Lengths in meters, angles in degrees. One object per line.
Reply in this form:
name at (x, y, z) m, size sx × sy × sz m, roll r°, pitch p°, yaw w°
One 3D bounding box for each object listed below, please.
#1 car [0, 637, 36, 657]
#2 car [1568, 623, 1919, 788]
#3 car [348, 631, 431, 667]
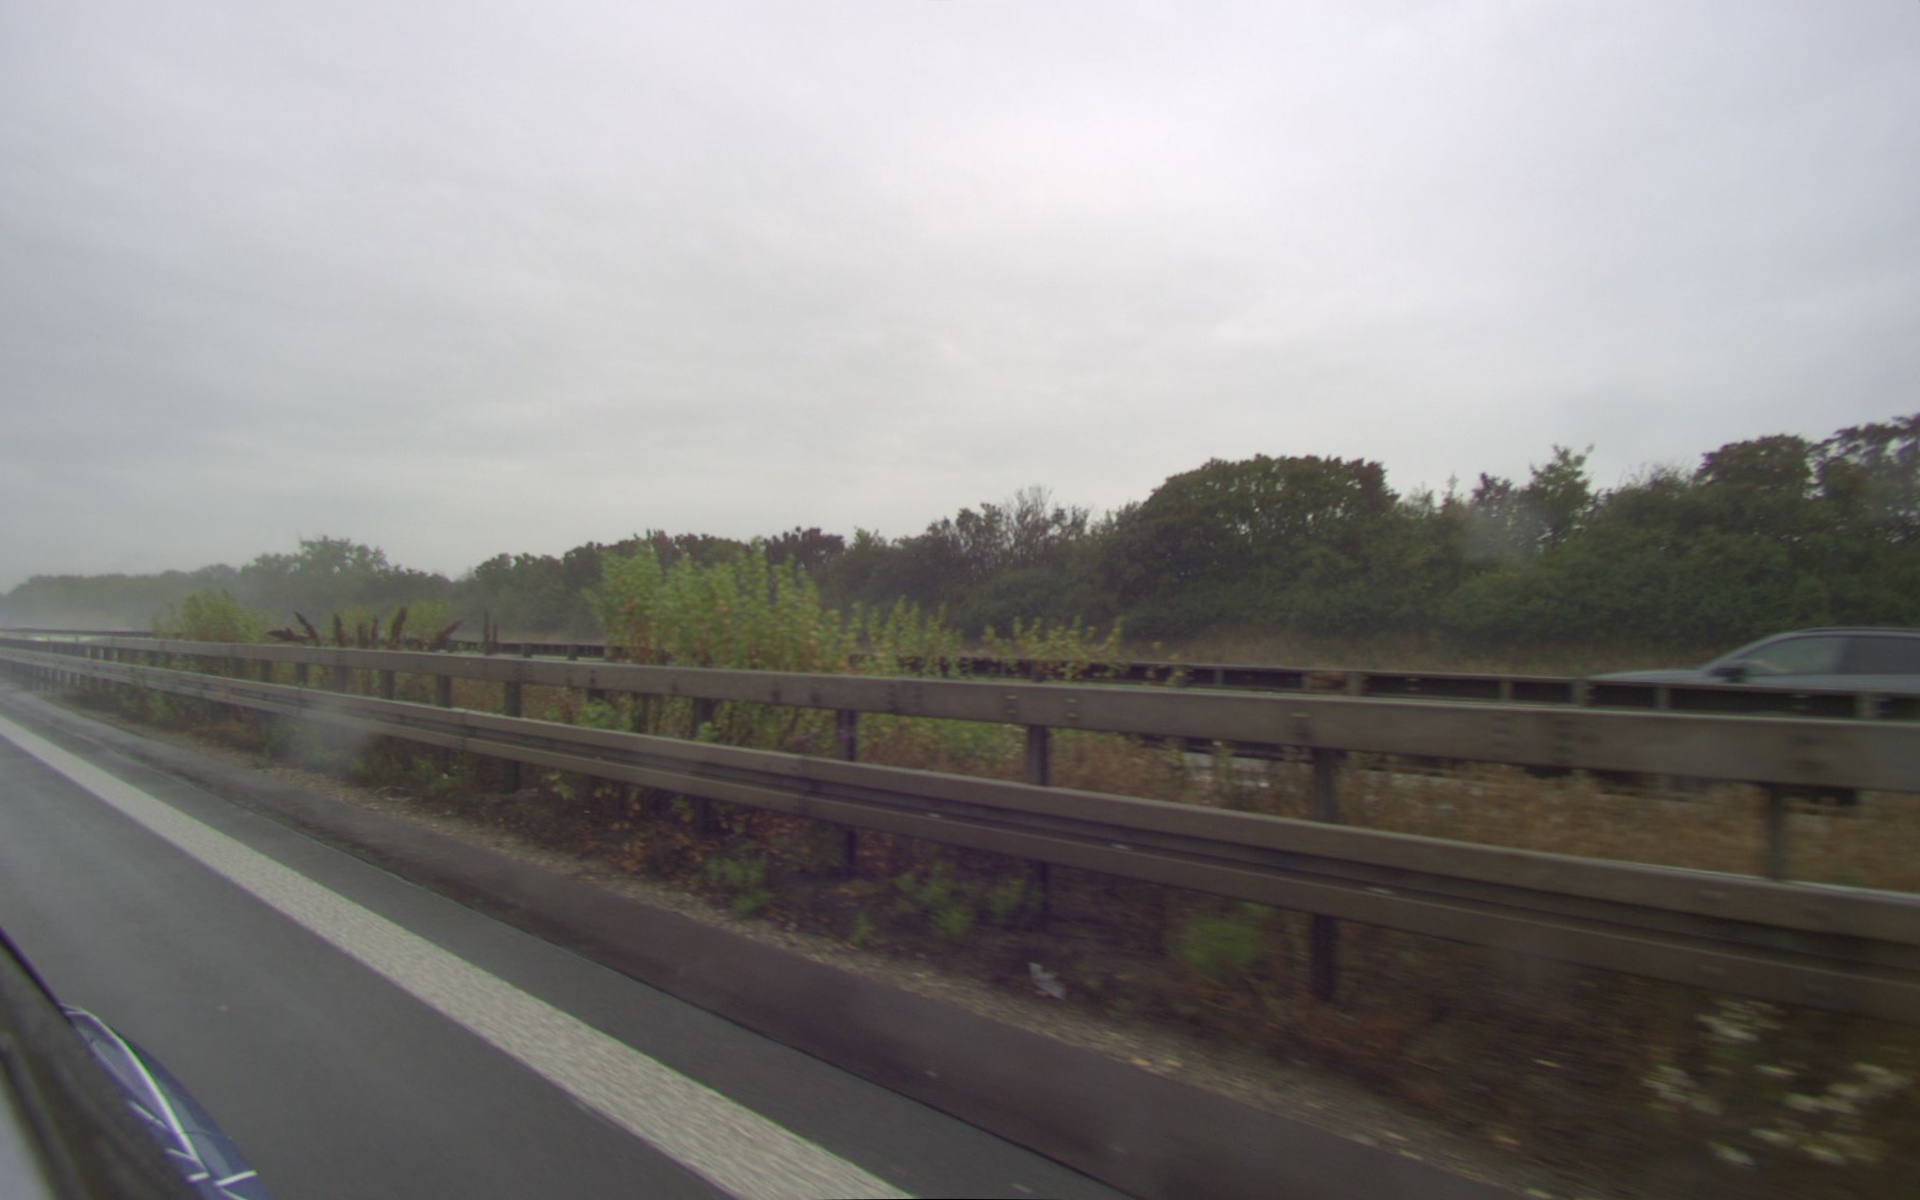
car at (-74.419, 3.723, 79.675) m, size 4.644 × 1.445 × 1.973 m, roll -2°, pitch -1°, yaw 41°
car at (9.442, 1.032, 10.665) m, size 4.932 × 1.524 × 1.908 m, roll -2°, pitch -1°, yaw 41°
car at (-26.495, 2.250, 46.943) m, size 4.446 × 1.524 × 1.973 m, roll -2°, pitch -1°, yaw 41°
